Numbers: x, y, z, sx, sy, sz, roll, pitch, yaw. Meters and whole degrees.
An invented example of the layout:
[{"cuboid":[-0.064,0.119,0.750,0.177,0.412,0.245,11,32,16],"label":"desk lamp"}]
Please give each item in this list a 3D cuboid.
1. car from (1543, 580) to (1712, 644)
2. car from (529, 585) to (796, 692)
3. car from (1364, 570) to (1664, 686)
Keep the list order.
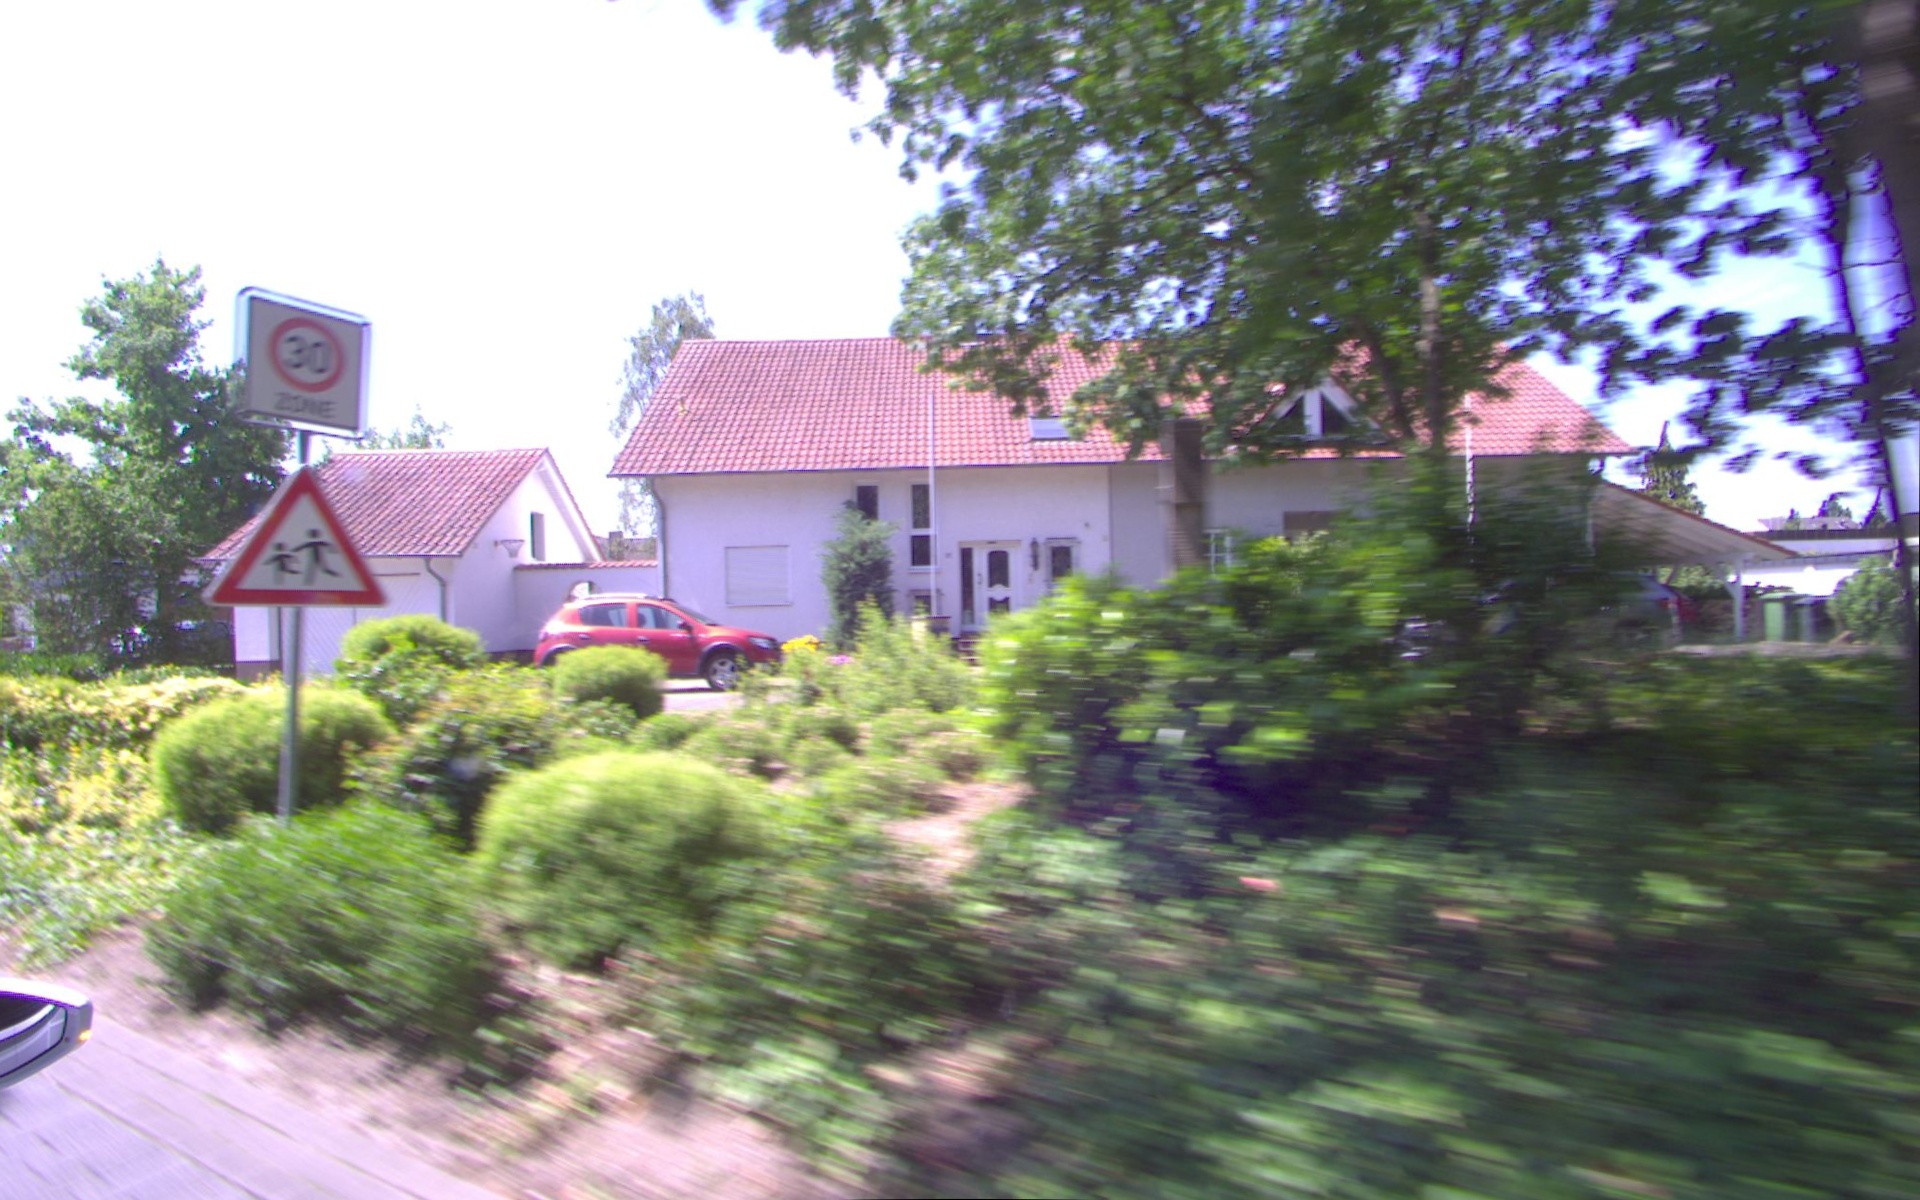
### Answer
[{"cuboid":[16.076,0.273,24.345,1.652,1.404,3.694,-1,0,0],"label":"car"},{"cuboid":[-4.891,0.626,16.799,3.948,1.622,1.666,-1,0,1],"label":"car"},{"cuboid":[9.077,0.449,16.599,4.063,1.727,1.666,-1,0,-3],"label":"car"}]
